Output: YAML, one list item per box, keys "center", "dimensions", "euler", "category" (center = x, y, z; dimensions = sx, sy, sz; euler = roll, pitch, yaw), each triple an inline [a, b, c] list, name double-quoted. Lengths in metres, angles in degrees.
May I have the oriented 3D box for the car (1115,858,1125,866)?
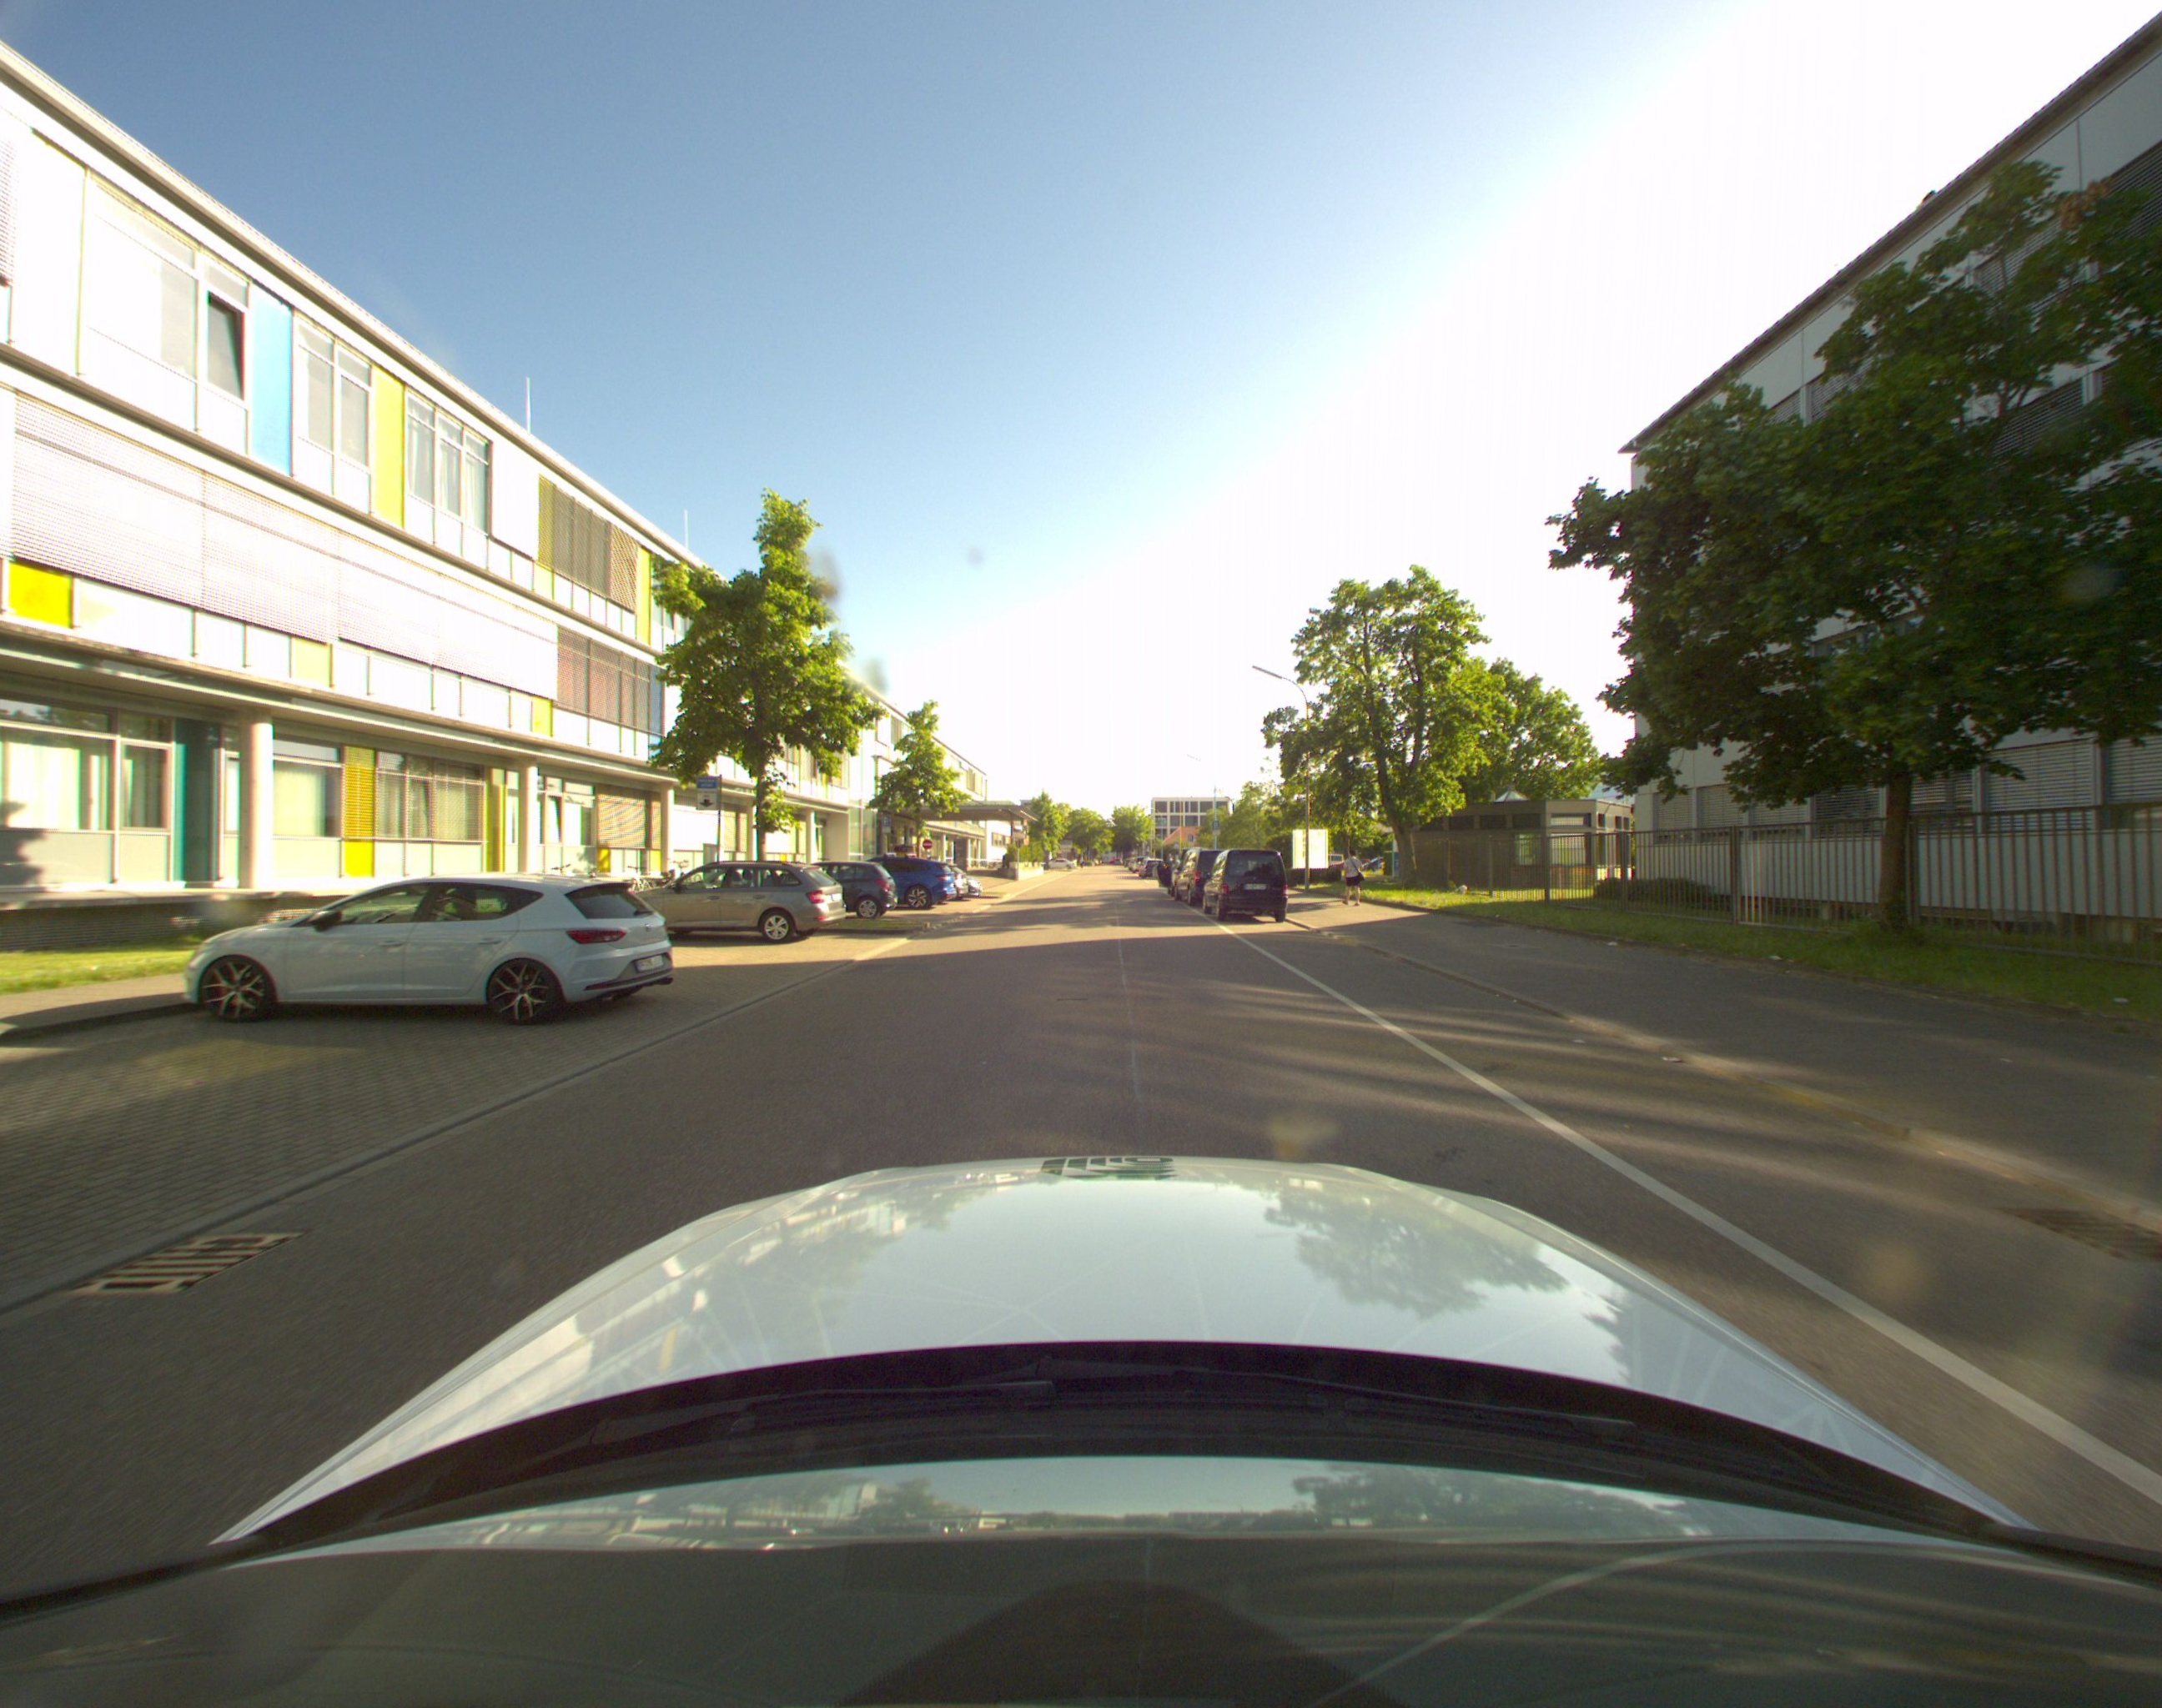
- center: [8.169, 1.653, 172.372]
  dimensions: [1.734, 1.543, 4.009]
  euler: [0, 0, 8]
  category: "car"

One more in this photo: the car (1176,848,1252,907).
- center: [4.419, 0.747, 27.599]
  dimensions: [1.986, 1.823, 4.200]
  euler: [-1, 0, 2]
  category: "car"

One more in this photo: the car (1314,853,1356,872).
- center: [27.749, 0.967, 89.139]
  dimensions: [3.975, 2.014, 1.999]
  euler: [0, -2, -1]
  category: "car"

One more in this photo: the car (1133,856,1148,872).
- center: [6.031, 1.027, 82.477]
  dimensions: [1.430, 1.560, 3.043]
  euler: [0, 0, 2]
  category: "car"

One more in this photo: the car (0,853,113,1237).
- center: [-6.646, 0.764, 2.694]
  dimensions: [4.235, 1.612, 2.046]
  euler: [1, 0, -2]
  category: "car"

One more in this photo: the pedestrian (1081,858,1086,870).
- center: [0.294, 1.288, 109.114]
  dimensions: [0.616, 1.624, 0.716]
  euler: [-1, -1, 1]
  category: "pedestrian"

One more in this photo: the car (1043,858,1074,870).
- center: [-2.961, 1.326, 109.109]
  dimensions: [3.972, 1.519, 2.001]
  euler: [-1, 0, 2]
  category: "car"

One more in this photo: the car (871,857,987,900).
- center: [-5.606, 0.883, 30.444]
  dimensions: [3.975, 1.552, 1.999]
  euler: [0, 0, -1]
  category: "car"

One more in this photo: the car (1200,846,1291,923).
- center: [4.212, 0.744, 21.359]
  dimensions: [1.726, 1.830, 3.907]
  euler: [0, 0, 2]
  category: "car"

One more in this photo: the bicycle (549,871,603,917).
- center: [-12.006, 0.938, 19.416]
  dimensions: [0.772, 1.017, 1.367]
  euler: [-1, 0, -18]
  category: "bicycle"

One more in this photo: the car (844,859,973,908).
- center: [-5.830, 0.973, 27.938]
  dimensions: [3.975, 1.552, 1.999]
  euler: [-1, 0, -1]
  category: "car"

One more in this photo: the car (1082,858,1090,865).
- center: [1.085, 1.631, 175.447]
  dimensions: [1.721, 1.536, 4.000]
  euler: [0, 0, 0]
  category: "car"

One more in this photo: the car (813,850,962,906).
- center: [-5.967, 0.738, 25.508]
  dimensions: [4.203, 1.603, 1.870]
  euler: [1, 0, -2]
  category: "car"

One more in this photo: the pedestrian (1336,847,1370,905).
- center: [8.150, 0.657, 24.413]
  dimensions: [0.696, 1.661, 0.752]
  euler: [-3, -1, 1]
  category: "pedestrian"

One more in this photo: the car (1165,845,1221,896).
- center: [4.582, 0.652, 33.848]
  dimensions: [1.867, 1.978, 4.001]
  euler: [-1, 0, 2]
  category: "car"

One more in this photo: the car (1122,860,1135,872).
- center: [7.813, 1.980, 134.133]
  dimensions: [1.986, 2.014, 4.001]
  euler: [0, -2, 2]
  category: "car"

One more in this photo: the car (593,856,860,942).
- center: [-6.587, 0.811, 15.510]
  dimensions: [4.203, 1.462, 1.870]
  euler: [1, 0, -2]
  category: "car"

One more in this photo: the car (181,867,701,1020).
- center: [-6.425, 0.869, 8.568]
  dimensions: [3.977, 1.358, 1.742]
  euler: [1, 0, -2]
  category: "car"

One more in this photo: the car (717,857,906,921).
- center: [-6.810, 0.874, 20.932]
  dimensions: [4.203, 1.486, 1.870]
  euler: [1, 0, -2]
  category: "car"

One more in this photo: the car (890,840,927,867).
- center: [-13.599, -0.005, 64.476]
  dimensions: [1.986, 2.014, 4.001]
  euler: [0, -2, 2]
  category: "car"

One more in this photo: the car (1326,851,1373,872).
- center: [26.146, 0.705, 79.365]
  dimensions: [3.978, 2.014, 1.998]
  euler: [0, -2, -3]
  category: "car"

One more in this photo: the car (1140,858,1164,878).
- center: [5.287, 1.028, 60.922]
  dimensions: [1.491, 1.479, 3.651]
  euler: [-1, 0, 2]
  category: "car"
